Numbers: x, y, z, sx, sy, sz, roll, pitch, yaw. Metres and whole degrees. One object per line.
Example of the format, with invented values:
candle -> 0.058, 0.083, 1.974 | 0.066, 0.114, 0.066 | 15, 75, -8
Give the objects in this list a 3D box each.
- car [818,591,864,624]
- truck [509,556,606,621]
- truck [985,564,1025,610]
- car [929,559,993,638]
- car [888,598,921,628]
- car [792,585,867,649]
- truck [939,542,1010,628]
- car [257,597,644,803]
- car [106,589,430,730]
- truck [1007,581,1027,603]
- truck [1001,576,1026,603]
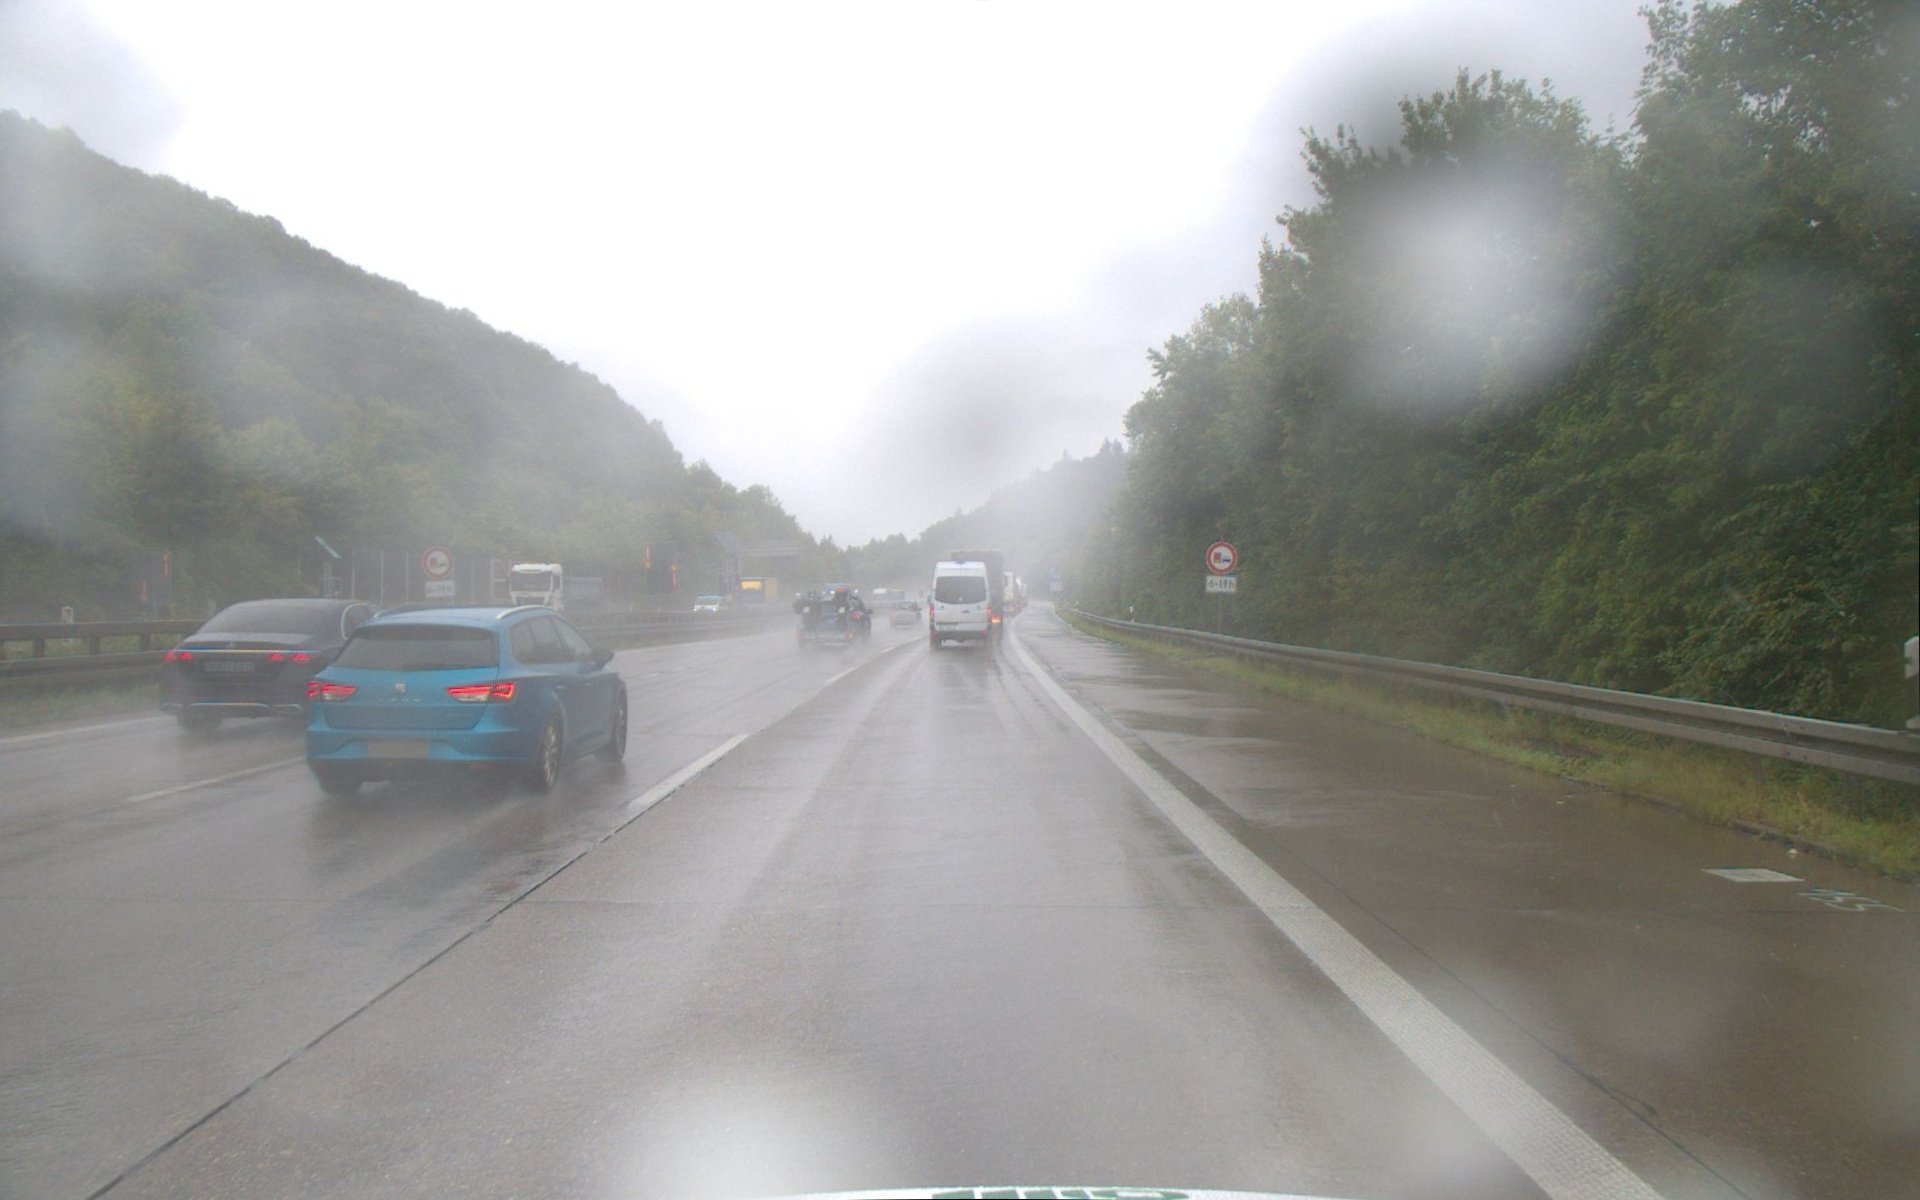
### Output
car -> -5.824, 0.369, 81.472 | 1.952, 1.557, 4.000 | 1, 0, 0
truck -> -22.669, -0.631, 93.805 | 2.717, 3.373, 11.514 | 1, 0, 0
truck -> 4.164, -1.122, 150.782 | 3.025, 3.978, 9.059 | 1, 0, 5
car -> 0.080, -0.050, 52.529 | 1.860, 2.374, 5.251 | 1, 0, 1
car -> -3.084, 0.704, 92.794 | 1.581, 1.656, 4.189 | 1, 0, 1
car -> -3.958, 0.492, 50.706 | 1.830, 1.841, 4.189 | 1, 0, 1
truck -> 0.846, -0.886, 85.426 | 3.315, 4.037, 8.670 | -2, 2, 2
car -> -3.872, 0.675, 13.410 | 1.818, 1.362, 4.350 | 1, 0, -1
car -> -7.523, 0.585, 18.496 | 1.818, 1.362, 4.350 | 1, 0, -1
truck -> 7.876, -1.092, 228.489 | 2.532, 3.033, 9.027 | 1, 0, 1
truck -> 6.213, -1.225, 191.018 | 2.531, 3.033, 9.029 | 1, 0, 3
